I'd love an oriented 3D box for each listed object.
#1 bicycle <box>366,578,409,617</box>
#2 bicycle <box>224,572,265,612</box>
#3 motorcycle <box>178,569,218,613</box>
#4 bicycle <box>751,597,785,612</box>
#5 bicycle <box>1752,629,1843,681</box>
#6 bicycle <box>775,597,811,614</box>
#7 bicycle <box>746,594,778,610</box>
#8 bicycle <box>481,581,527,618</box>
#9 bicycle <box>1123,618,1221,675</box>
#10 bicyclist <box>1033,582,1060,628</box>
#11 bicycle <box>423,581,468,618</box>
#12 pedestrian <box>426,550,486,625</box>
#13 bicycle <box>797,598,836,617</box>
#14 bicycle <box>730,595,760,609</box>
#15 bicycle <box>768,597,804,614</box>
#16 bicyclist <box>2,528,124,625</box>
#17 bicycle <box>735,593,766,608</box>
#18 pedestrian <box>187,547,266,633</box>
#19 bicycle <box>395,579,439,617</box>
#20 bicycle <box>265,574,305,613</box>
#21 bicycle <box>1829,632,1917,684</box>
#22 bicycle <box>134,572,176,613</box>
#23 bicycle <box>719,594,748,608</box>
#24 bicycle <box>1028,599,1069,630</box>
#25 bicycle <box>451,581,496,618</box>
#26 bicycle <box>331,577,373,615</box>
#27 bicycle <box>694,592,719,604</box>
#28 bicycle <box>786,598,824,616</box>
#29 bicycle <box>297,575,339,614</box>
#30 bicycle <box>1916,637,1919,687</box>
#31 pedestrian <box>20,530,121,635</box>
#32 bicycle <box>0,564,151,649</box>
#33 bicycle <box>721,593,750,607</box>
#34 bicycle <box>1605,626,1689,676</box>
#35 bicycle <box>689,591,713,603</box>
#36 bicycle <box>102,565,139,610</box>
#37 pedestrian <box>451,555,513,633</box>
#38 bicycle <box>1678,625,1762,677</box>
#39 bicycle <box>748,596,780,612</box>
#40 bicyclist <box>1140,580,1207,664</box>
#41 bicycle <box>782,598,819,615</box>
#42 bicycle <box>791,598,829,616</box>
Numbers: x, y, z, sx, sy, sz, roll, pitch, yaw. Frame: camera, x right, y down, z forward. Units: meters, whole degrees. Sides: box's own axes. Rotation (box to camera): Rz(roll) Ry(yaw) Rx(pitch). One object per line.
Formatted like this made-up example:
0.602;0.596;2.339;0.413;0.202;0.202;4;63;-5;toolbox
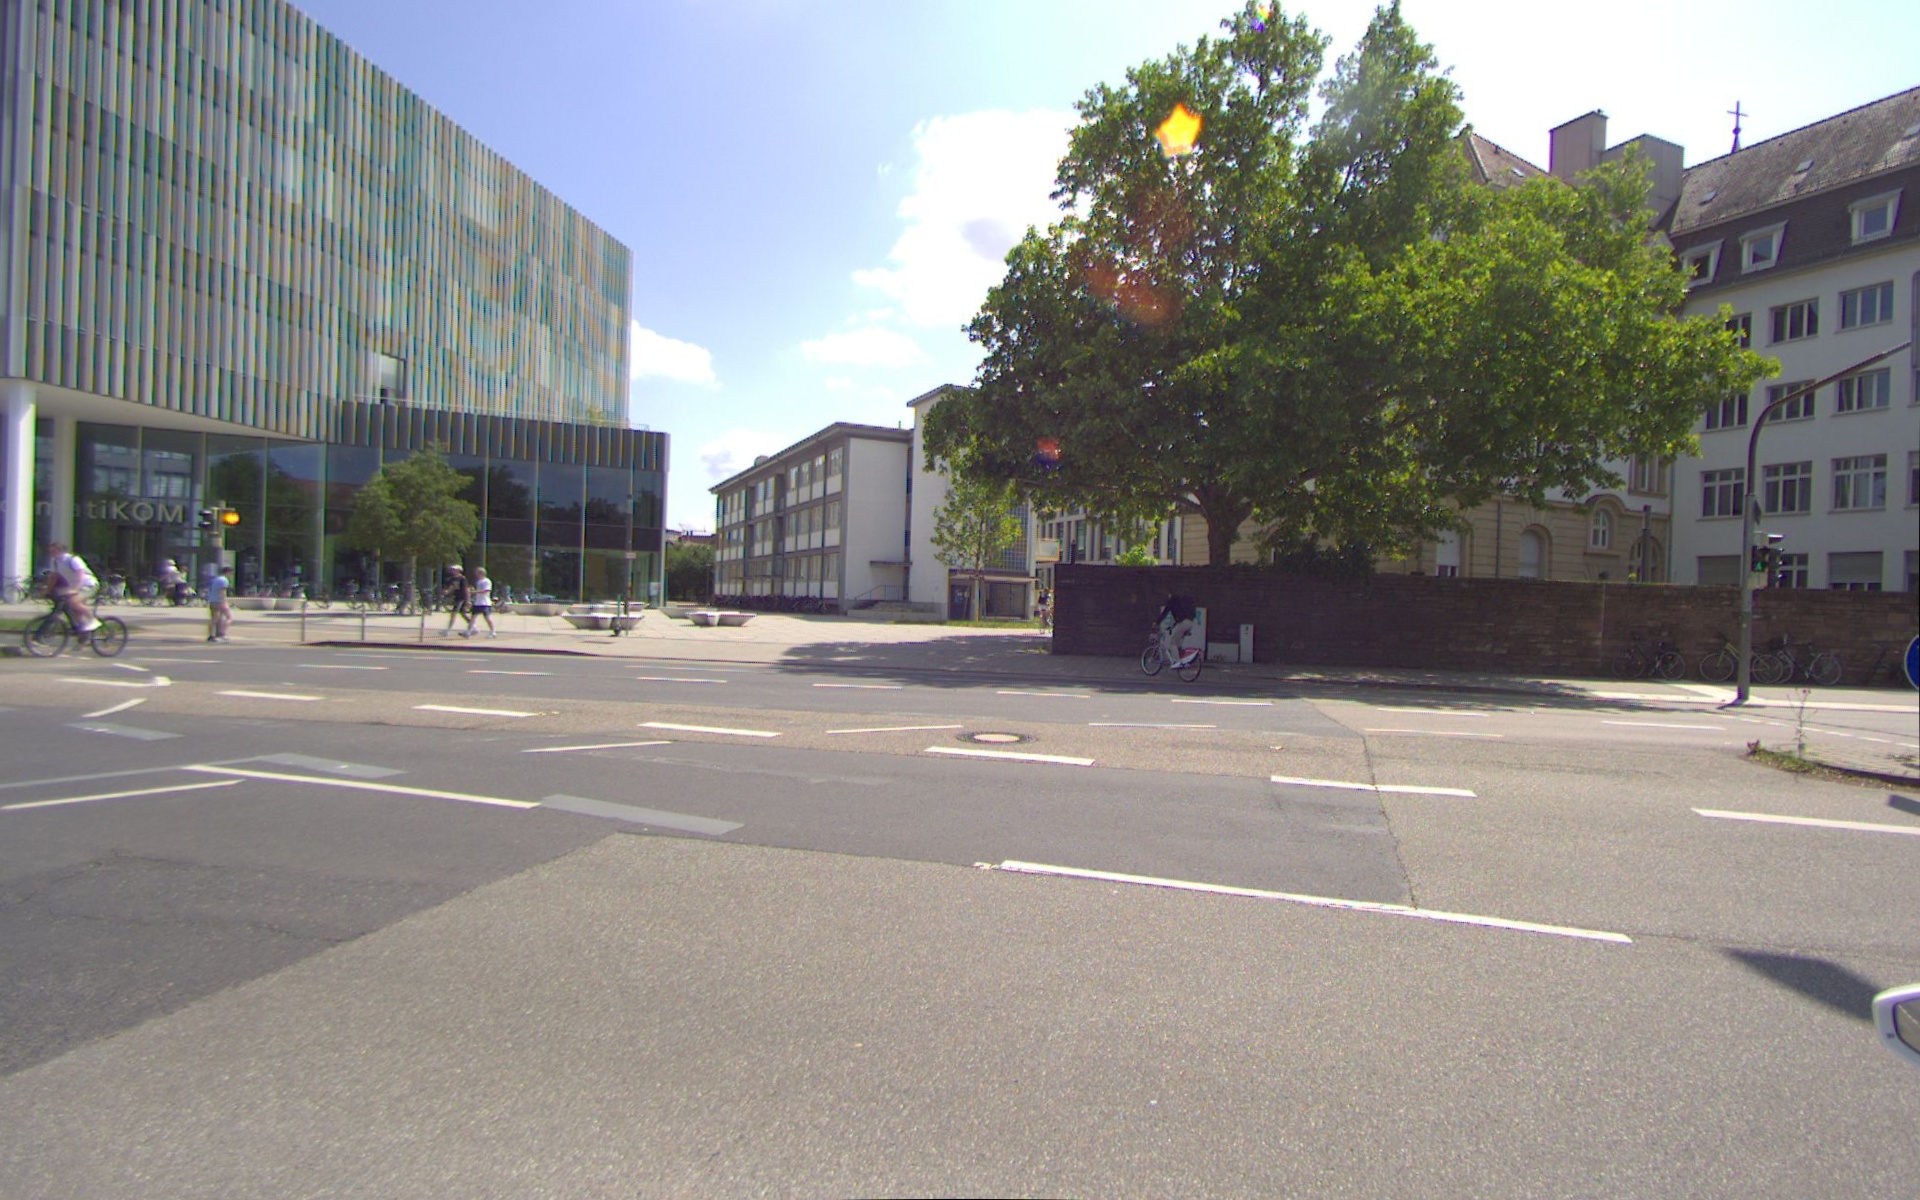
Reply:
-24.649;-0.130;43.227;0.992;1.572;3.374;2;0;-40;bicycle
-29.176;-0.339;40.942;1.044;1.572;3.374;2;0;-40;bicycle
-30.337;-0.363;40.043;0.961;1.661;3.268;2;0;-32;motorcycle
-13.619;0.321;71.228;2.214;1.030;0.648;2;0;-21;bicycle
19.848;1.293;23.834;1.562;1.168;0.623;2;0;4;bicycle
-10.876;0.383;65.531;2.214;1.030;0.648;2;0;-21;bicycle
-14.490;0.149;73.374;2.214;1.030;0.648;2;0;-21;bicycle
-20.559;-0.042;45.243;0.992;1.572;3.374;2;0;-40;bicycle
4.430;0.950;21.067;0.812;1.077;1.871;1;1;-44;bicycle
3.121;0.170;36.235;0.666;1.621;0.923;2;0;25;bicyclist
-22.750;-0.043;44.390;0.992;1.572;3.374;2;0;-40;bicycle
-13.379;-0.326;26.669;0.957;1.951;1.104;2;1;41;pedestrian
-8.628;0.446;60.307;2.214;1.030;0.648;2;0;-21;bicycle
-16.868;0.162;78.899;2.214;1.030;0.648;2;0;-21;bicycle
-11.571;0.349;66.833;2.214;1.030;0.648;2;0;-21;bicycle
-14.346;-0.365;16.090;0.952;1.463;1.077;2;1;11;bicyclist
-15.974;0.056;76.552;2.214;1.030;0.648;2;0;-21;bicycle
-17.231;-0.227;23.605;0.952;1.951;1.109;2;1;17;pedestrian
-23.739;-0.088;43.886;0.992;1.572;3.374;2;0;-40;bicycle
-27.993;-0.284;41.609;0.992;1.572;3.374;2;0;-40;bicycle
21.614;1.367;23.784;1.562;1.168;0.414;2;0;7;bicycle
-31.456;-0.305;39.291;0.923;1.513;2.664;2;1;-32;bicycle
-18.757;0.073;83.142;2.214;1.030;0.648;2;0;-21;bicycle
3.244;0.529;36.520;0.666;1.086;2.395;2;0;25;bicycle
-21.885;-0.047;45.126;0.992;1.572;3.374;2;0;-40;bicycle
-25.927;-0.187;42.809;0.992;1.572;3.374;2;0;-40;bicycle
-24.017;-0.190;95.103;2.214;1.030;0.648;2;0;-21;bicycle
-9.595;0.447;62.331;2.214;1.030;0.648;2;0;-21;bicycle
-26.985;-0.239;42.190;0.992;1.572;3.374;2;0;-40;bicycle
23.370;1.482;23.634;1.566;1.168;0.402;2;0;-11;bicycle
-17.297;-0.330;19.548;0.952;1.951;1.110;2;1;16;pedestrian
-14.376;0.086;16.068;0.867;1.268;2.167;2;0;12;bicycle
-18.393;-0.003;82.189;2.214;1.030;0.648;2;0;-21;bicycle
16.398;1.204;24.007;1.562;1.113;0.573;2;0;4;bicycle
-25.192;-0.284;97.611;2.214;1.030;0.648;2;0;-21;bicycle
-32.316;-0.487;38.690;0.803;1.666;3.380;2;0;-36;bicycle
-12.336;-0.146;25.920;0.956;1.951;1.105;2;1;38;pedestrian
18.107;1.214;23.949;1.562;1.168;0.501;2;0;4;bicycle
-14.153;0.294;72.476;2.214;1.030;0.648;2;0;-21;bicycle
4.464;0.451;21.029;0.780;1.690;1.094;1;1;-45;bicyclist
-10.083;0.422;63.469;2.214;1.030;0.648;2;0;-21;bicycle
-9.163;0.432;61.458;2.214;1.030;0.648;2;0;-21;bicycle
